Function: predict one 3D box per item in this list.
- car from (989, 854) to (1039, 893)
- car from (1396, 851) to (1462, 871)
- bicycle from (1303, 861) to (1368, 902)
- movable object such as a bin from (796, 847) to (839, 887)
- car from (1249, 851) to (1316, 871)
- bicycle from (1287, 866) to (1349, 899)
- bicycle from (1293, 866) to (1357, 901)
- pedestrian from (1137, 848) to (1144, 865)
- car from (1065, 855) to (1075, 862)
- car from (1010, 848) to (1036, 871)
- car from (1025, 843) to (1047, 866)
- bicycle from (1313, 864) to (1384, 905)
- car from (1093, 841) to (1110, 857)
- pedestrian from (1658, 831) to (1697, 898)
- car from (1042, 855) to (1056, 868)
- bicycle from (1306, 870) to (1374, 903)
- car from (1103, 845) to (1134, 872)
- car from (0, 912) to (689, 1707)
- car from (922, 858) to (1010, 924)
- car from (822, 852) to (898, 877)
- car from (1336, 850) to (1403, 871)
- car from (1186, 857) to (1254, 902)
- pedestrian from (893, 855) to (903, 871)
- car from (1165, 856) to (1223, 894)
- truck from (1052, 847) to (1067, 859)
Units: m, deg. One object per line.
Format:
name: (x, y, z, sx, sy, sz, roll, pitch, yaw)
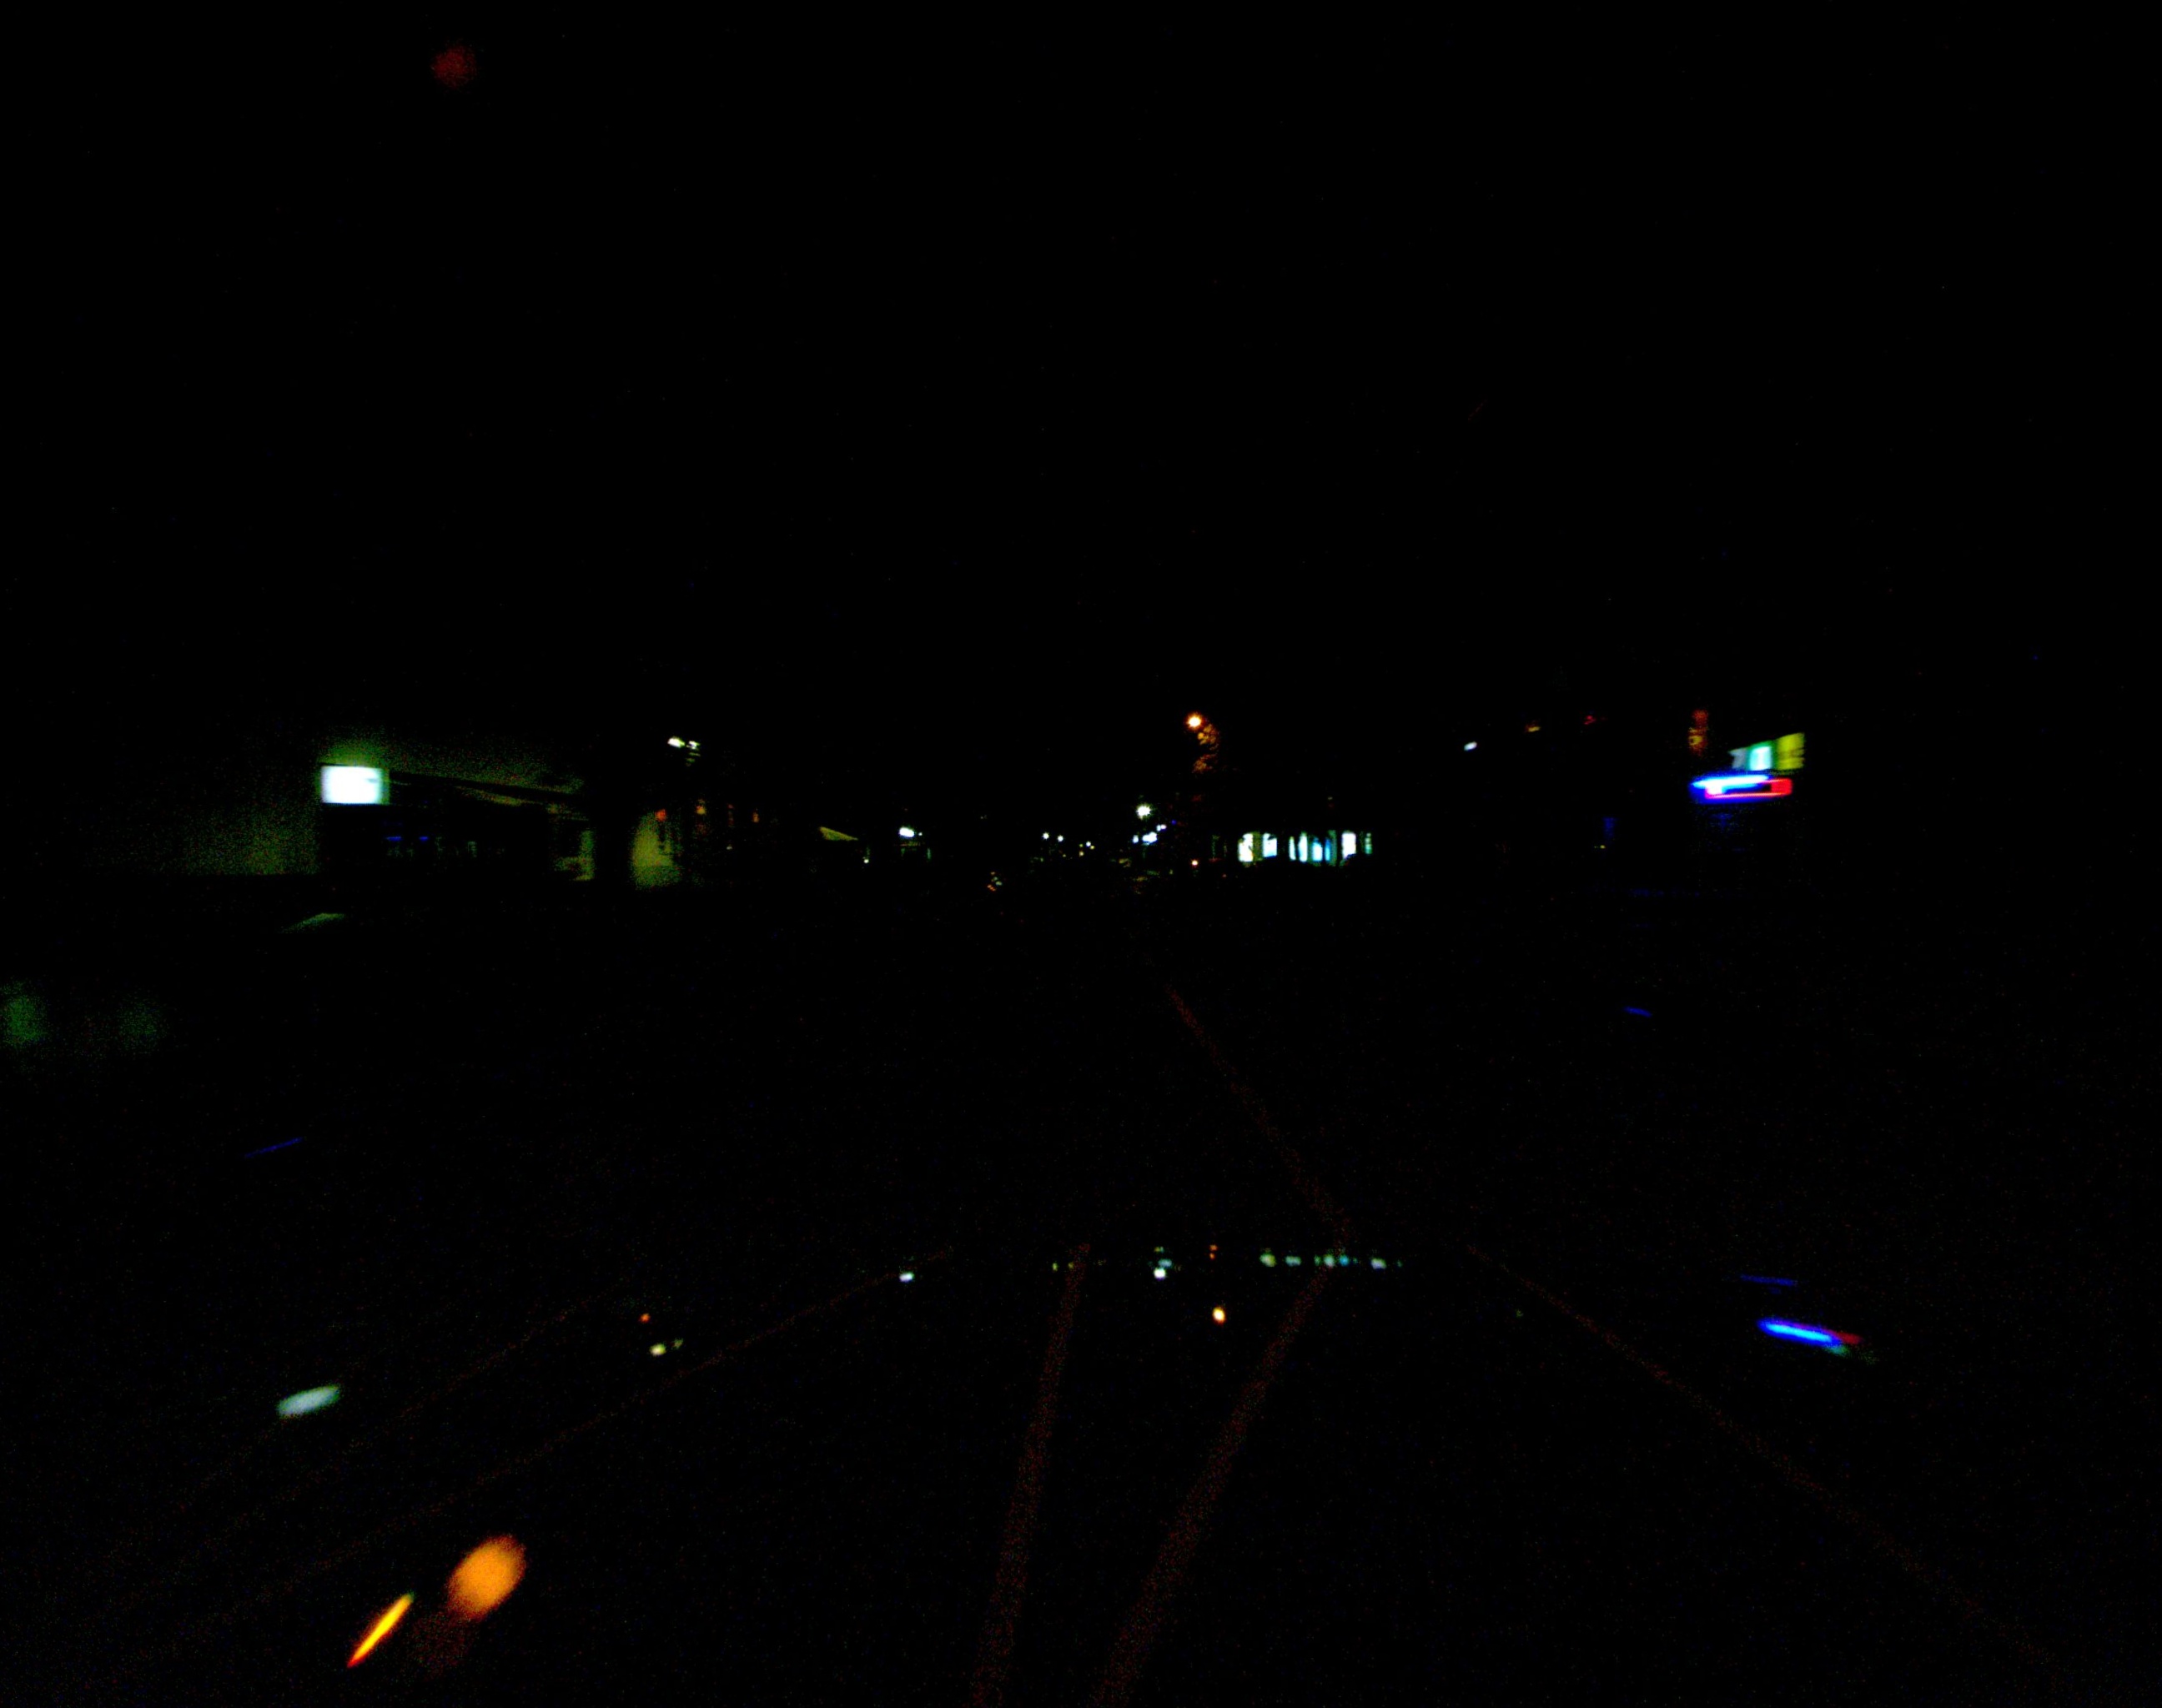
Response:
car: (-2.923, 0.818, 33.753, 1.774, 1.528, 4.216, 2, 0, 0)
car: (25.147, 0.478, 54.960, 3.908, 1.387, 1.803, -1, 0, -1)
bicycle: (7.892, 0.856, 23.622, 1.855, 1.246, 0.532, 0, 1, 0)
movable object such as a bin: (-9.359, 0.448, 26.986, 1.163, 1.363, 0.993, -1, 1, -2)
car: (14.437, 0.488, 54.636, 4.340, 1.389, 1.803, -1, 0, -1)
bicycle: (7.759, 0.933, 24.909, 1.855, 0.994, 0.532, -2, 1, 0)
bicycle: (7.767, 0.936, 24.247, 1.855, 1.029, 0.532, -2, 1, 0)
pedestrian: (6.099, 0.263, 78.077, 0.720, 1.795, 0.716, 0, 1, 0)
car: (-2.218, 0.916, 157.417, 1.737, 1.493, 4.001, 0, 0, 5)
car: (-4.665, 0.444, 61.805, 1.793, 1.811, 4.579, 0, 0, -1)
car: (-4.771, 0.011, 79.987, 2.141, 2.313, 5.148, 0, 0, -6)
bicycle: (7.746, 0.868, 22.046, 1.855, 1.159, 0.532, 0, 1, 0)
car: (2.589, -0.582, 97.057, 1.930, 1.954, 5.076, -2, 0, -1)
pedestrian: (14.823, 0.260, 18.898, 0.479, 1.627, 0.632, 0, 1, 1)
car: (-4.443, 1.015, 106.445, 1.912, 1.792, 4.936, 0, 0, -1)
bicycle: (7.722, 0.956, 22.661, 1.855, 0.962, 0.501, 0, 1, 0)
car: (3.095, 0.367, 64.170, 1.858, 2.075, 5.087, -2, 1, -5)
car: (-2.904, 1.007, 1.456, 1.768, 1.406, 4.807, 0, 0, 1)
car: (-2.933, 0.899, 20.210, 1.694, 1.528, 4.015, 1, 0, 0)
car: (-14.029, 0.669, 48.400, 4.327, 1.523, 1.802, 0, 2, -1)
car: (20.800, 0.467, 54.875, 4.146, 1.428, 1.803, -1, 0, -1)
car: (5.047, 0.881, 28.051, 1.726, 1.420, 3.976, -2, 0, 0)
pedestrian: (-14.058, 0.687, 58.426, 0.501, 1.256, 0.530, 0, 1, 28)
car: (4.884, 0.863, 33.447, 1.811, 1.416, 4.920, -2, 0, 0)
truck: (-4.013, -0.234, 142.385, 2.109, 2.230, 6.289, 0, 0, 5)
